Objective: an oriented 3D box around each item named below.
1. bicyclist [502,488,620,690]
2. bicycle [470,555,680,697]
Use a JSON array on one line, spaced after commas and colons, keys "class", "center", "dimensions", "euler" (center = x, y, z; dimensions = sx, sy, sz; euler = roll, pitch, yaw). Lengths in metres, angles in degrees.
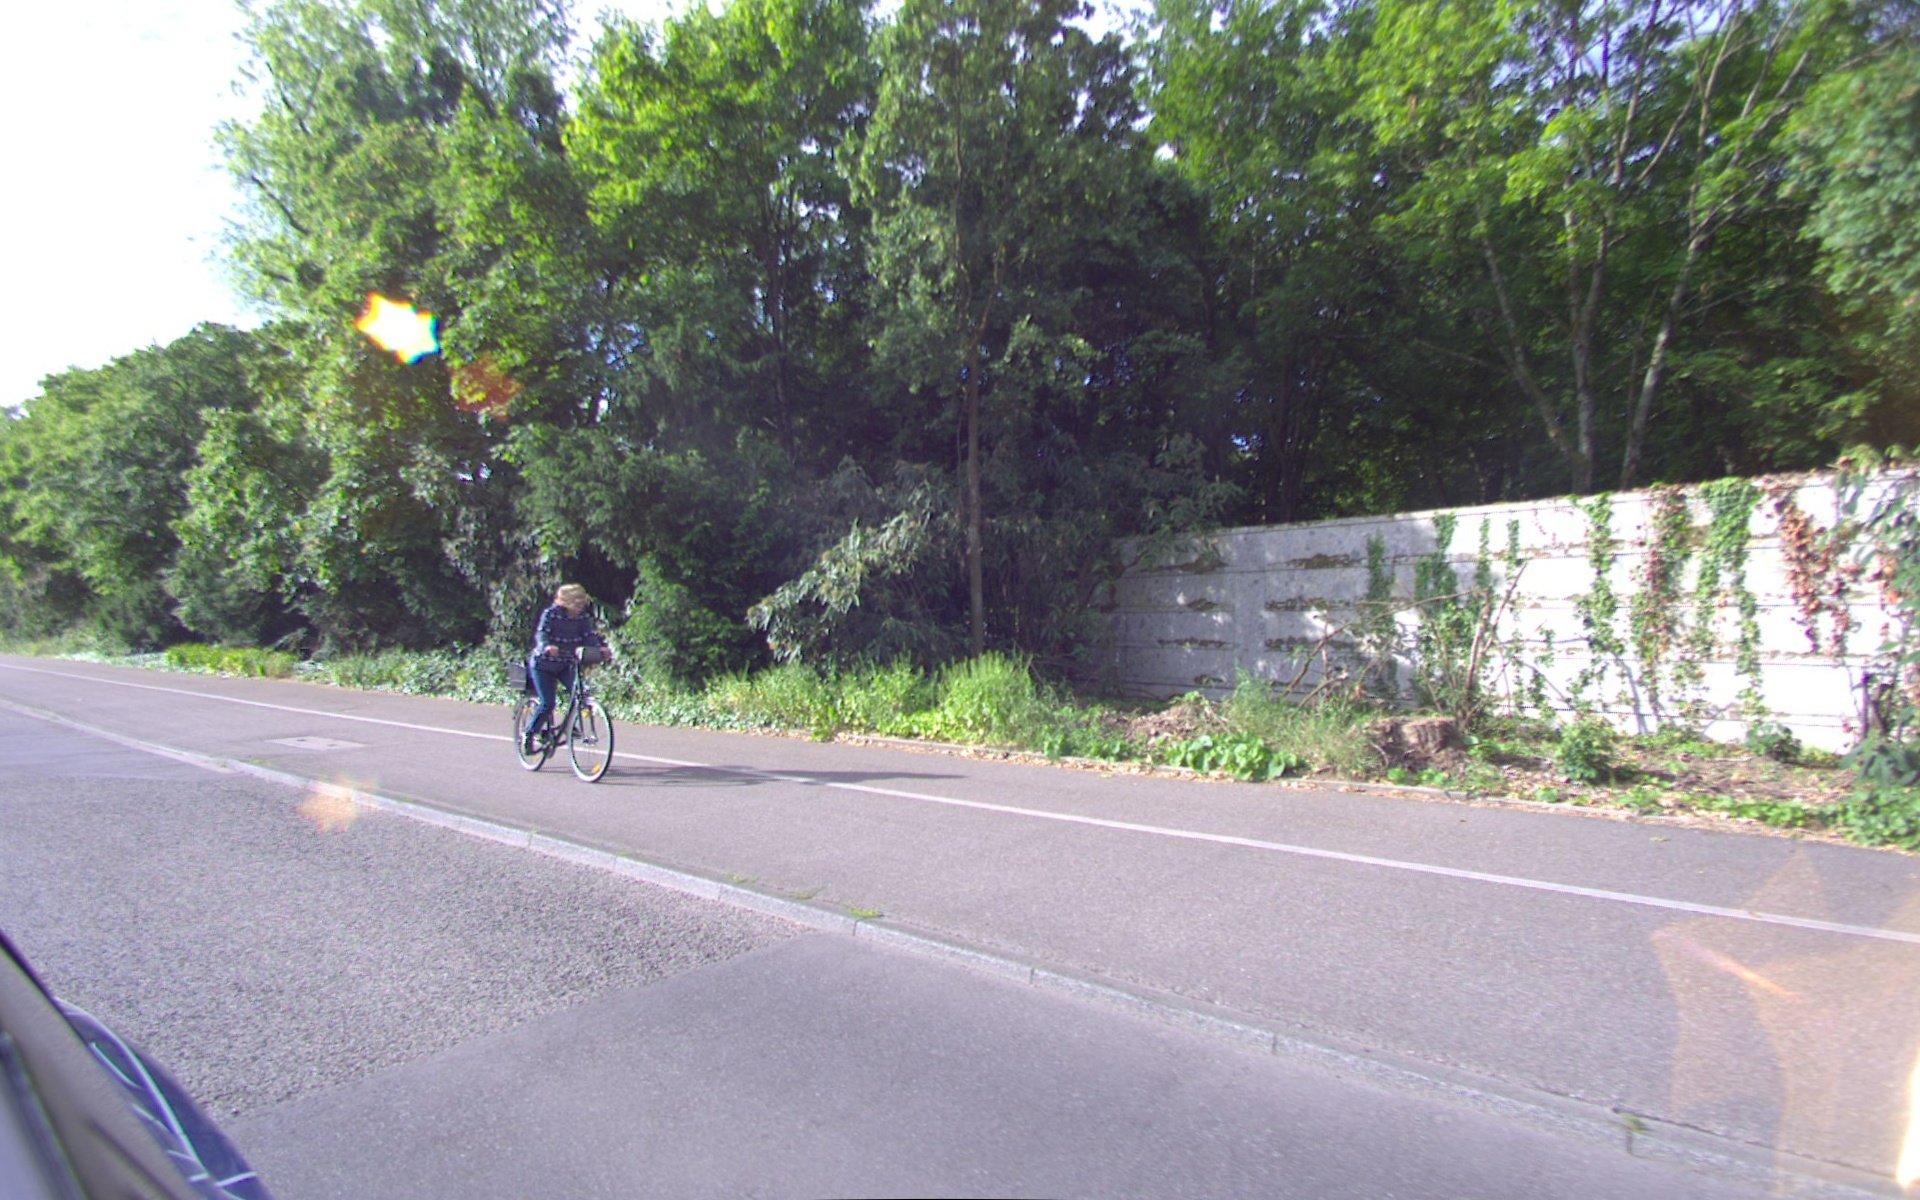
[{"class": "bicyclist", "center": [-3.542, -0.093, 8.982], "dimensions": [0.883, 1.689, 0.602], "euler": [0, 1, 39]}, {"class": "bicycle", "center": [-3.438, 0.199, 8.901], "dimensions": [2.346, 1.105, 0.656], "euler": [0, 0, 40]}]
